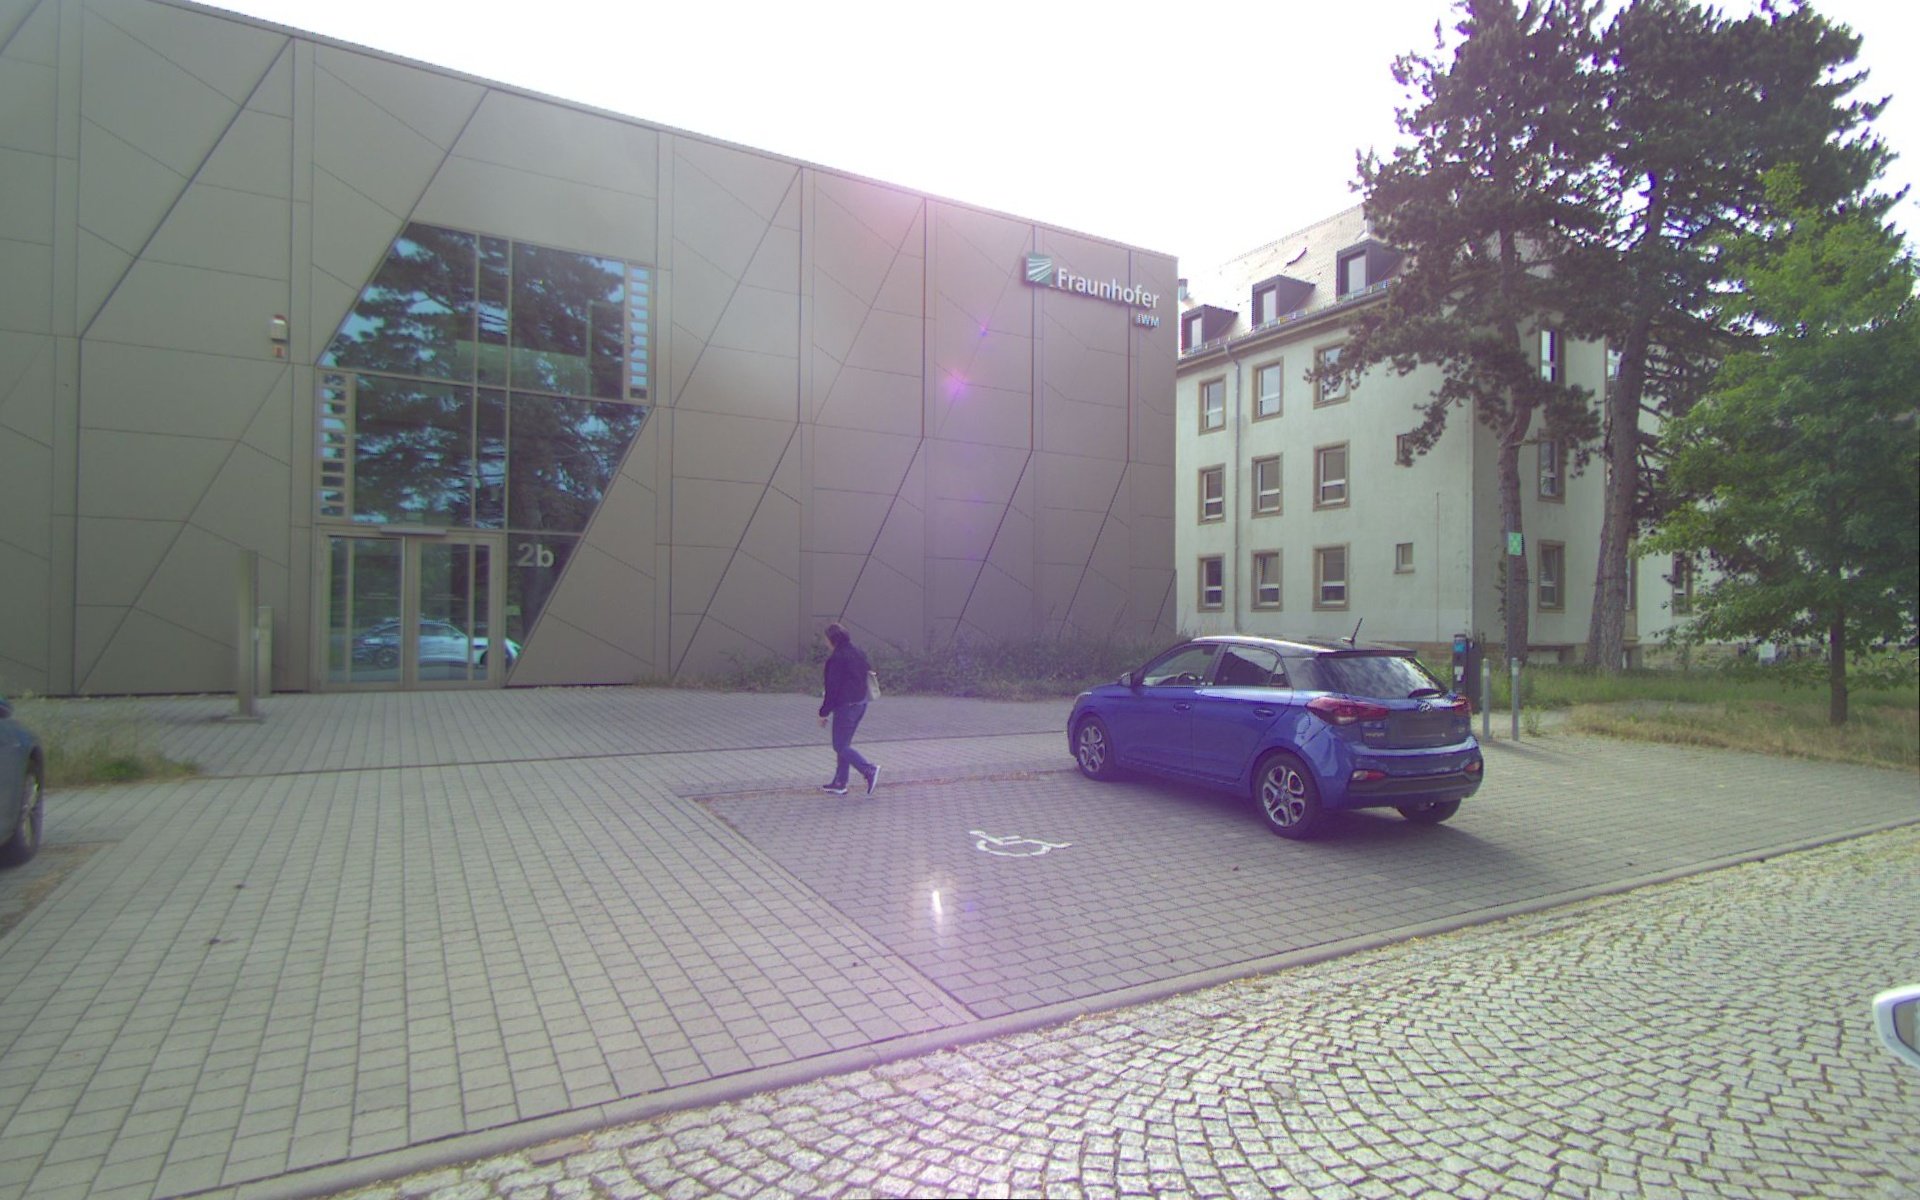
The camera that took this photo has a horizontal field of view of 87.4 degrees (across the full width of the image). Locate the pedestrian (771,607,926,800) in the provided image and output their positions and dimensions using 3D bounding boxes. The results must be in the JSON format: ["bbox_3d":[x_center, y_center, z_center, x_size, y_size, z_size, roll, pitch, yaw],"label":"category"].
[{"bbox_3d":[-0.952,0.854,8.710,0.968,1.514,0.818,3,0,27],"label":"pedestrian"}]

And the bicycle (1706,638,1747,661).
[{"bbox_3d":[37.010,2.385,48.493,2.246,1.090,0.732,1,-2,-30],"label":"bicycle"}]

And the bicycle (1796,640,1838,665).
[{"bbox_3d":[38.760,2.363,45.398,2.246,1.090,0.732,1,-2,-30],"label":"bicycle"}]

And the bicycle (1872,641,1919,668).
[{"bbox_3d":[39.354,2.277,41.845,0.821,1.090,1.849,1,-2,-27],"label":"bicycle"}]

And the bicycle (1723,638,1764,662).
[{"bbox_3d":[37.302,2.373,47.817,2.246,1.090,0.732,1,-2,-30],"label":"bicycle"}]

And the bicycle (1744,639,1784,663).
[{"bbox_3d":[38.033,2.399,47.501,2.246,1.090,0.732,1,-2,-30],"label":"bicycle"}]

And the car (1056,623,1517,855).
[{"bbox_3d":[2.633,1.011,8.992,1.828,1.497,3.752,1,0,-27],"label":"car"}]

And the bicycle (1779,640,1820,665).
[{"bbox_3d":[38.382,2.379,45.918,2.246,1.090,0.732,1,-2,-30],"label":"bicycle"}]

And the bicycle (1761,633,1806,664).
[{"bbox_3d":[38.327,2.250,46.748,2.679,1.404,0.732,1,-2,-30],"label":"bicycle"}]

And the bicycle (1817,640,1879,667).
[{"bbox_3d":[38.411,2.299,43.473,0.729,1.090,1.849,1,-2,-27],"label":"bicycle"}]

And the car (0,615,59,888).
[{"bbox_3d":[-5.496,0.827,4.284,1.755,1.447,4.280,1,0,-32],"label":"car"}]
